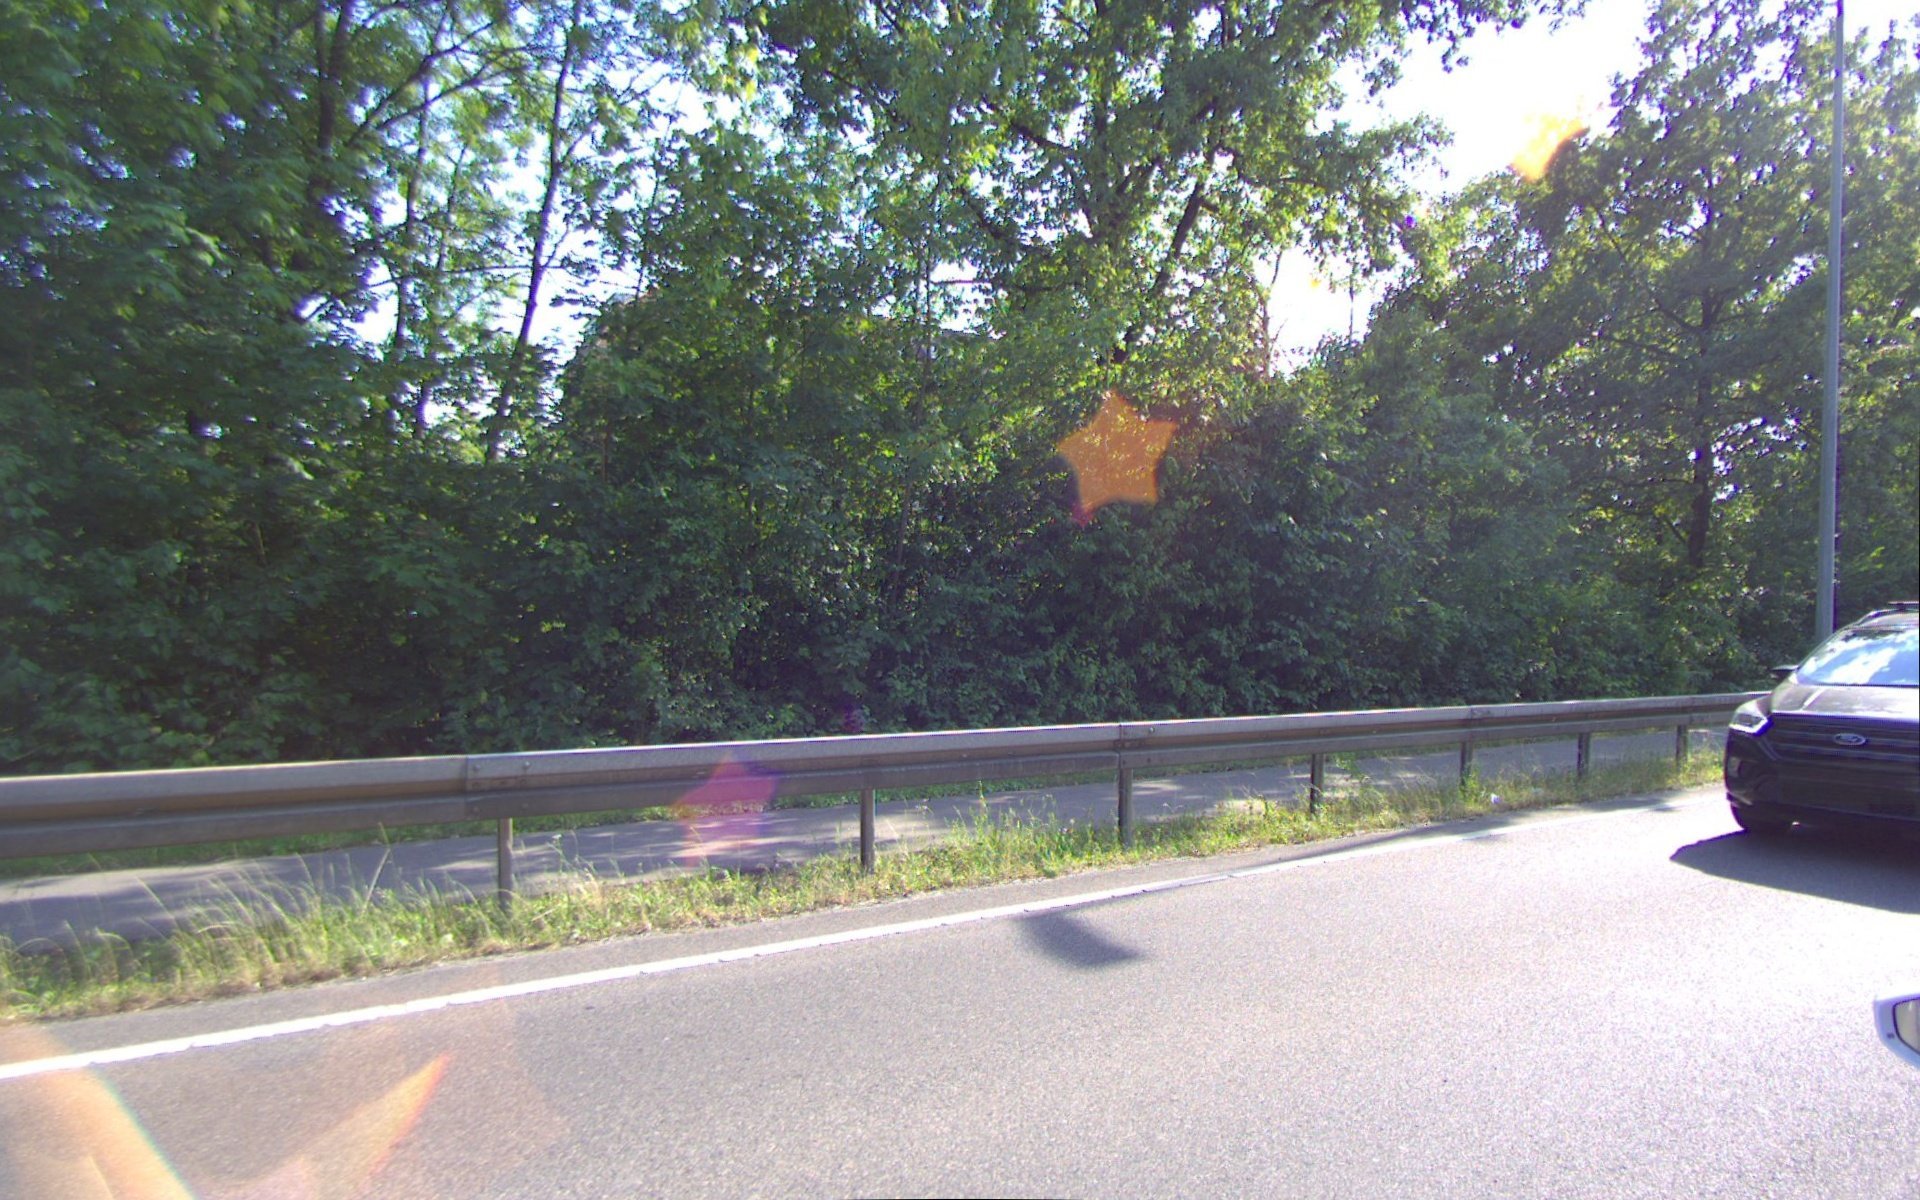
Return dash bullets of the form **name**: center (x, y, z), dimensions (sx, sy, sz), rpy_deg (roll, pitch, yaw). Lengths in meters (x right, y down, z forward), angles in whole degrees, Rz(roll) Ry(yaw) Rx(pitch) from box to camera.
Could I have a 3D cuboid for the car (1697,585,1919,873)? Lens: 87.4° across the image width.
- **car**: center (7.453, 0.824, 7.411), dimensions (4.171, 1.740, 1.740), rpy_deg (1, -1, -30)
